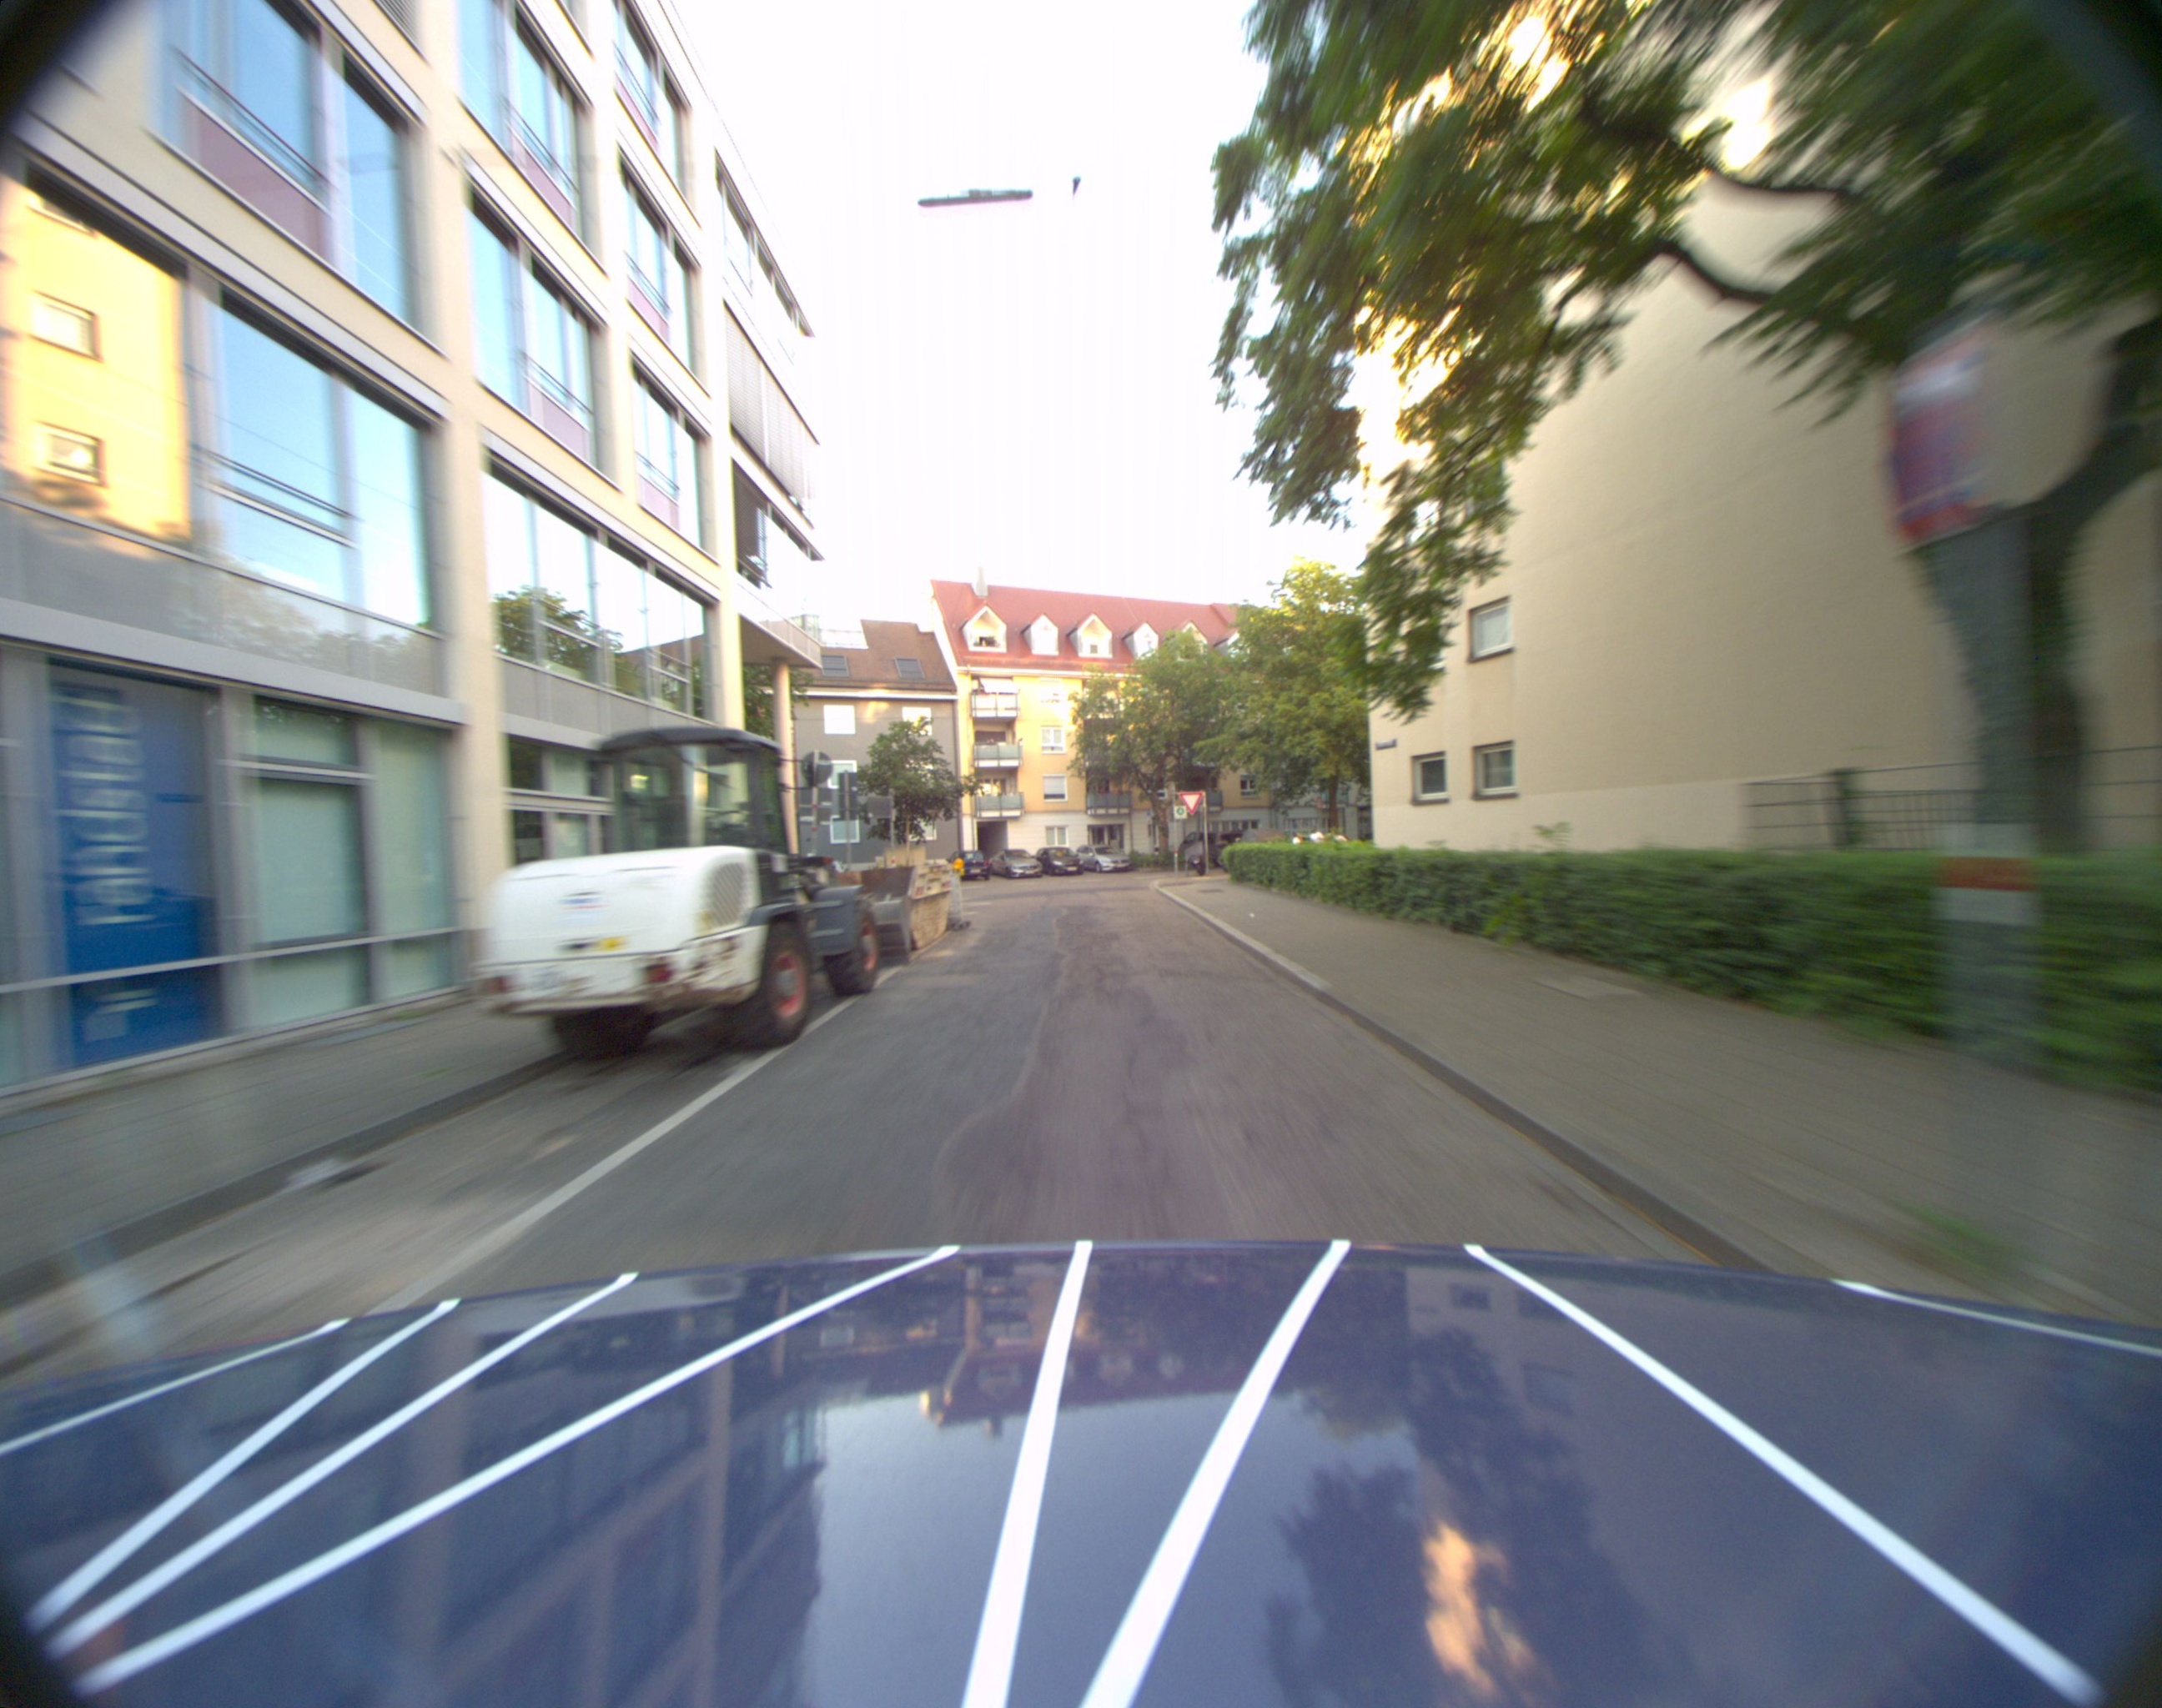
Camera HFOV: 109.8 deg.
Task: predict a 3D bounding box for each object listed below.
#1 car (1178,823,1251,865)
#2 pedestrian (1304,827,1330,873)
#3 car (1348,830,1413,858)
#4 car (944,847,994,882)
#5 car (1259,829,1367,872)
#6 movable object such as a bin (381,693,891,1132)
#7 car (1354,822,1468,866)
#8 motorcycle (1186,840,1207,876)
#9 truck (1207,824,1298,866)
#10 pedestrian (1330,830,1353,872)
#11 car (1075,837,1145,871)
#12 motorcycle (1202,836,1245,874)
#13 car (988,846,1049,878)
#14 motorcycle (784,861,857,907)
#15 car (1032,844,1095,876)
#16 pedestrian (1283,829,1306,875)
[{"bbox_3d":[7.606,-0.639,43.823,2.038,2.122,4.624,-3,5,-22],"label":"car"},{"bbox_3d":[9.293,-0.153,29.911,0.666,1.778,0.697,-3,1,-18],"label":"pedestrian"},{"bbox_3d":[19.119,-0.669,48.574,1.782,1.540,3.667,-4,5,-24],"label":"car"},{"bbox_3d":[-5.699,0.477,38.422,1.747,1.517,3.354,-3,3,-21],"label":"car"},{"bbox_3d":[9.923,-0.109,32.903,2.057,1.571,4.506,-3,-1,-21],"label":"car"},{"bbox_3d":[-3.228,0.340,6.685,1.800,2.619,4.110,-2,1,2],"label":"movable object such as a bin"},{"bbox_3d":[14.748,-0.401,34.210,2.066,1.674,4.403,-3,-1,-24],"label":"car"},{"bbox_3d":[4.604,0.145,30.287,0.722,1.366,2.225,-2,1,9],"label":"motorcycle"},{"bbox_3d":[10.044,-0.620,45.057,2.263,2.122,6.008,-3,5,-22],"label":"truck"},{"bbox_3d":[9.771,-0.112,28.521,0.448,1.563,0.660,-3,2,-17],"label":"pedestrian"},{"bbox_3d":[1.523,0.014,41.484,1.838,1.694,4.802,-3,1,-24],"label":"car"},{"bbox_3d":[5.956,0.043,31.982,0.692,1.485,2.220,-3,1,-20],"label":"motorcycle"},{"bbox_3d":[-3.308,0.417,39.688,1.874,1.499,4.285,-3,1,-23],"label":"car"},{"bbox_3d":[-8.576,0.992,25.000,2.373,1.432,0.803,-2,1,28],"label":"motorcycle"},{"bbox_3d":[-0.999,0.310,40.445,1.855,1.554,4.073,-3,1,-24],"label":"car"},{"bbox_3d":[8.398,-0.063,29.909,0.697,1.778,0.530,-2,1,28],"label":"pedestrian"}]
